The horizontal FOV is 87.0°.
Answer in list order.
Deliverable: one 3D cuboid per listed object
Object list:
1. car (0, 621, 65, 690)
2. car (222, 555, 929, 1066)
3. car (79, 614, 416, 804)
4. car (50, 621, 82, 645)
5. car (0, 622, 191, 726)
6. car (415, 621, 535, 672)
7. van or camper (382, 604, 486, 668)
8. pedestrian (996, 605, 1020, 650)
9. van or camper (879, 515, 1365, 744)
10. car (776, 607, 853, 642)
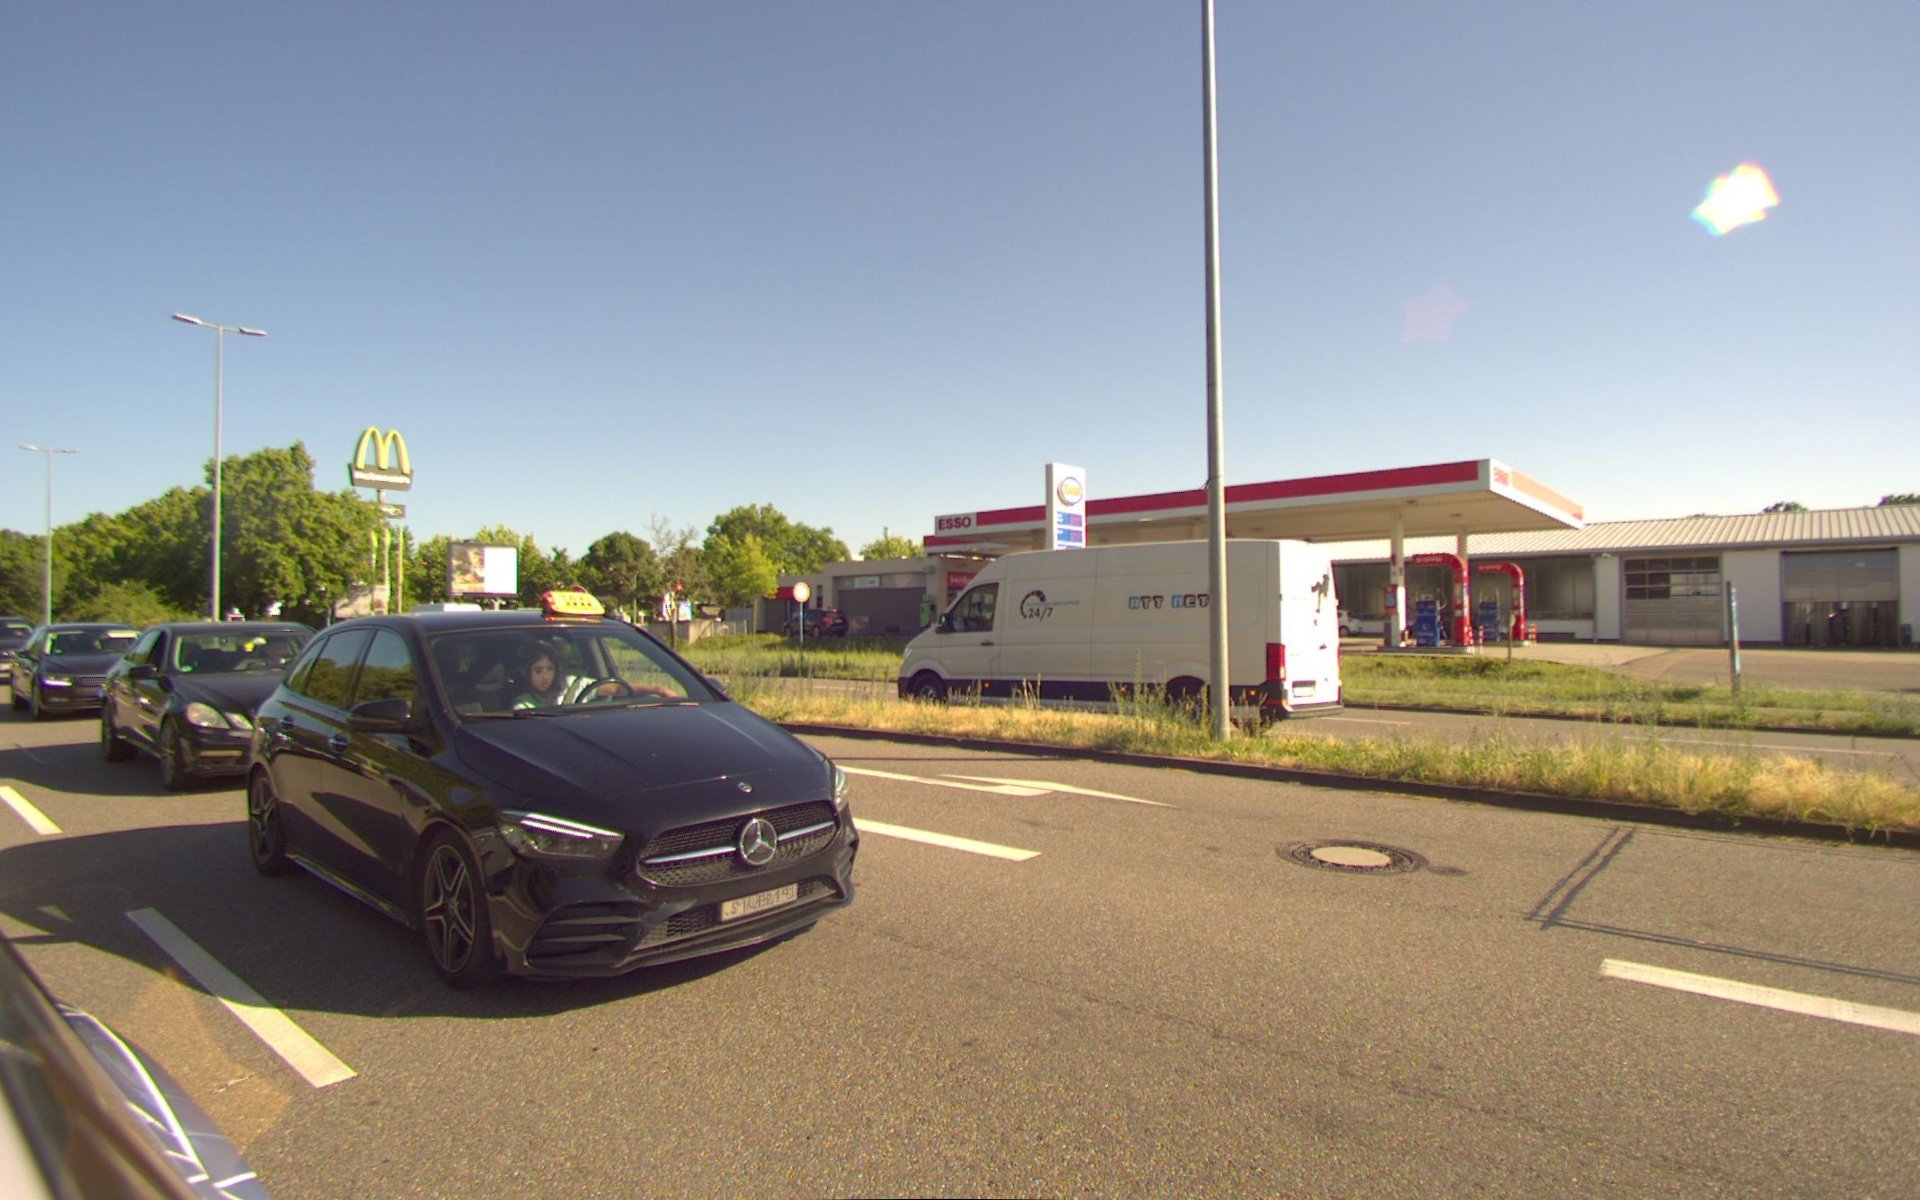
[{"bbox_3d":[-23.898,1.342,25.222,4.401,1.600,1.838,-2,-2,41],"label":"car"},{"bbox_3d":[-2.286,0.729,5.334,4.187,1.638,1.780,-2,-2,42],"label":"car"},{"bbox_3d":[-7.415,0.937,10.356,4.401,1.535,1.838,-2,-2,41],"label":"car"},{"bbox_3d":[-79.514,2.918,89.991,1.970,2.029,4.004,-1,0,-43],"label":"car"},{"bbox_3d":[-14.428,1.124,16.769,4.401,1.492,1.838,-2,-2,41],"label":"car"},{"bbox_3d":[-17.009,1.643,35.402,4.609,1.666,1.973,-2,-4,40],"label":"car"},{"bbox_3d":[-23.623,1.612,45.356,5.952,2.671,1.973,-1,-4,40],"label":"van or camper"},{"bbox_3d":[2.218,1.258,46.557,0.840,2.029,0.694,-2,-2,41],"label":"pedestrian"},{"bbox_3d":[1.982,0.417,14.518,6.750,2.592,2.155,-2,-2,41],"label":"van or camper"},{"bbox_3d":[-7.941,1.326,55.132,4.117,1.783,1.972,-2,-1,43],"label":"car"}]
